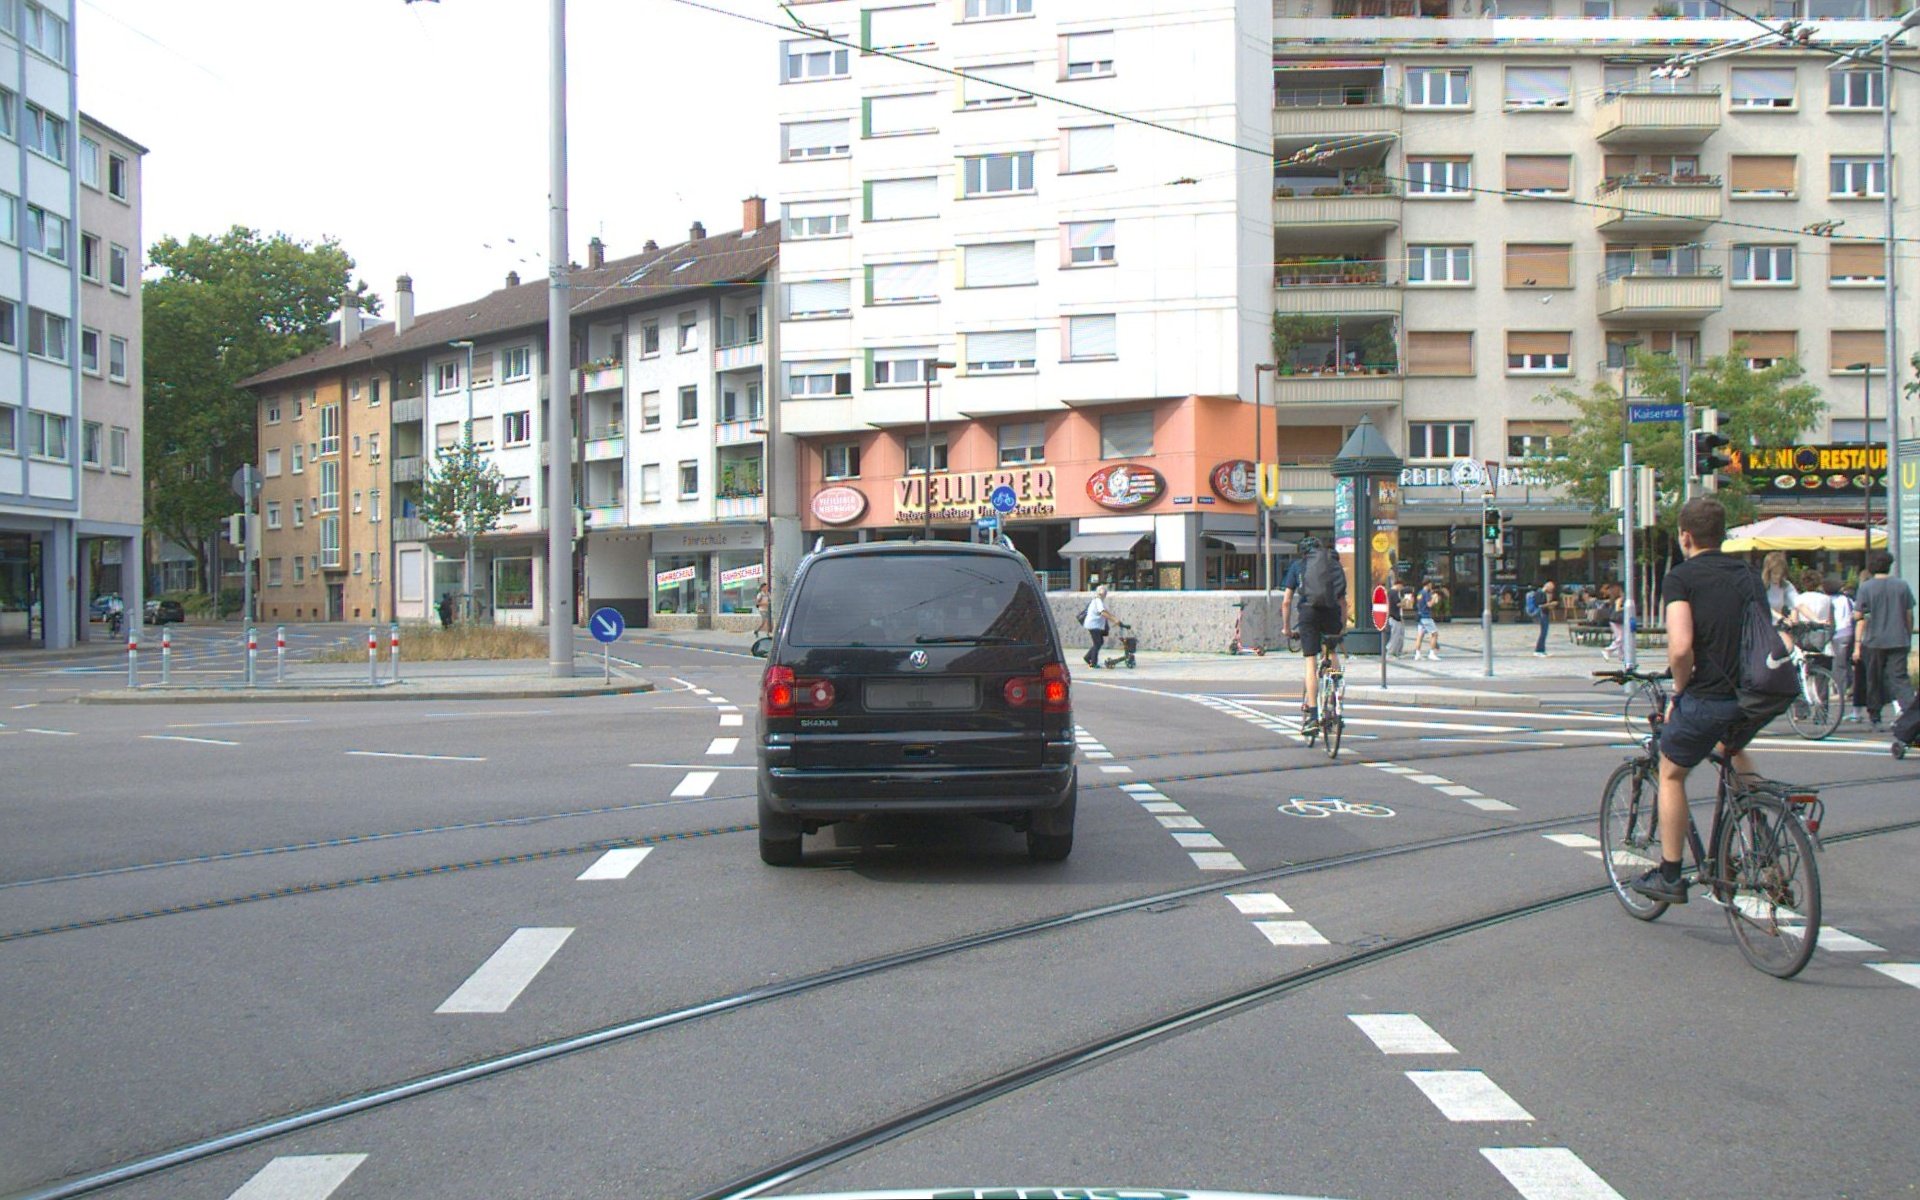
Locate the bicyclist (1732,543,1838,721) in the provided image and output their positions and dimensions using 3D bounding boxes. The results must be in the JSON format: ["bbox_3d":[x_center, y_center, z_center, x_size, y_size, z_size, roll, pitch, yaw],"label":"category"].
[{"bbox_3d":[8.288,0.313,16.644,0.627,1.739,0.862,0,0,-1],"label":"bicyclist"}]

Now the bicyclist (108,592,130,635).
[{"bbox_3d":[-33.473,0.523,65.835,0.603,1.675,1.023,-1,0,-37],"label":"bicyclist"}]

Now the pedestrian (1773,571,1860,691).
[{"bbox_3d":[11.189,0.404,21.630,0.542,1.527,0.843,0,-2,-17],"label":"pedestrian"}]

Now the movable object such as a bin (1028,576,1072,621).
[{"bbox_3d":[3.116,-0.048,56.995,1.147,1.542,0.999,0,0,43],"label":"movable object such as a bin"}]

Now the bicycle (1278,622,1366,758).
[{"bbox_3d":[3.334,0.792,15.348,0.382,1.141,1.920,0,0,0],"label":"bicycle"}]

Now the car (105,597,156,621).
[{"bbox_3d":[-51.903,0.547,103.468,3.879,1.447,1.652,1,1,44],"label":"car"}]

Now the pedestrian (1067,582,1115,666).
[{"bbox_3d":[2.846,0.513,35.834,0.915,1.770,0.686,-1,1,13],"label":"pedestrian"}]

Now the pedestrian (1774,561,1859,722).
[{"bbox_3d":[9.356,0.438,18.088,0.459,1.715,0.795,0,0,-6],"label":"pedestrian"}]

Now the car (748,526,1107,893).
[{"bbox_3d":[-0.322,0.506,10.036,1.777,1.797,3.734,0,1,-5],"label":"car"}]

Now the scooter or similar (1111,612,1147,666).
[{"bbox_3d":[3.649,0.839,35.677,0.685,1.129,0.609,-1,1,11],"label":"scooter or similar"}]

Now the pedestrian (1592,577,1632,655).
[{"bbox_3d":[14.067,0.346,35.689,0.662,1.670,0.439,0,0,-2],"label":"pedestrian"}]

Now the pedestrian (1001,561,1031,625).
[{"bbox_3d":[1.729,-0.217,50.929,0.580,1.936,0.670,0,3,45],"label":"pedestrian"}]

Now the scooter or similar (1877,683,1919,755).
[{"bbox_3d":[8.357,1.023,14.155,0.497,0.584,0.814,0,0,-10],"label":"scooter or similar"}]

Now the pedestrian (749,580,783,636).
[{"bbox_3d":[-6.688,0.288,57.015,0.653,1.884,0.956,-4,2,-42],"label":"pedestrian"}]

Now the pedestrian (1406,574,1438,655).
[{"bbox_3d":[10.047,0.312,35.965,0.581,1.767,0.414,0,0,-2],"label":"pedestrian"}]

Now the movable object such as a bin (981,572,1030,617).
[{"bbox_3d":[1.524,-0.176,55.183,1.202,1.486,1.142,0,0,43],"label":"movable object such as a bin"}]

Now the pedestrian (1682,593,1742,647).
[{"bbox_3d":[18.154,0.485,39.963,1.010,1.267,0.935,2,0,1],"label":"pedestrian"}]

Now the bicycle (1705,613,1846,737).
[{"bbox_3d":[8.209,0.725,16.744,0.382,1.141,2.076,0,0,0],"label":"bicycle"}]

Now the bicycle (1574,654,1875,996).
[{"bbox_3d":[3.148,0.850,7.010,0.397,1.141,2.018,0,1,2],"label":"bicycle"}]

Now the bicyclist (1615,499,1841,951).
[{"bbox_3d":[3.126,0.479,6.795,0.547,1.739,0.863,0,0,2],"label":"bicyclist"}]

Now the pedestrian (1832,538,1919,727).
[{"bbox_3d":[9.497,0.321,16.973,0.625,1.886,0.877,0,1,-1],"label":"pedestrian"}]

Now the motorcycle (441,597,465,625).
[{"bbox_3d":[-19.151,0.417,62.489,0.336,1.025,1.245,-1,1,-44],"label":"motorcycle"}]

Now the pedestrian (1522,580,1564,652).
[{"bbox_3d":[13.164,0.355,37.345,0.802,1.604,0.415,0,0,0],"label":"pedestrian"}]

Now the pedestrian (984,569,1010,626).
[{"bbox_3d":[1.136,-0.074,50.443,0.580,1.701,0.471,0,3,45],"label":"pedestrian"}]

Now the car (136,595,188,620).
[{"bbox_3d":[-48.183,0.455,99.872,3.800,1.447,1.652,1,1,44],"label":"car"}]

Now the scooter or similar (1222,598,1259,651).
[{"bbox_3d":[6.579,0.563,38.857,0.282,1.233,1.117,0,0,-24],"label":"scooter or similar"}]

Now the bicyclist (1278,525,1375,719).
[{"bbox_3d":[3.381,0.191,15.314,0.683,1.739,0.907,0,0,-1],"label":"bicyclist"}]

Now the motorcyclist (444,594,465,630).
[{"bbox_3d":[-19.076,0.441,62.442,0.521,1.335,0.666,-1,0,-44],"label":"motorcyclist"}]

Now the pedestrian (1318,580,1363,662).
[{"bbox_3d":[8.067,0.434,35.070,0.787,1.710,0.627,-1,0,0],"label":"pedestrian"}]

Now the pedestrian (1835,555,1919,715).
[{"bbox_3d":[10.095,0.370,18.143,0.620,1.724,0.706,0,1,-1],"label":"pedestrian"}]

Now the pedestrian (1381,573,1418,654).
[{"bbox_3d":[9.662,0.287,36.390,0.685,1.767,0.414,0,0,-2],"label":"pedestrian"}]

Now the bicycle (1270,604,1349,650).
[{"bbox_3d":[8.338,0.628,39.394,2.428,1.031,0.536,-1,0,-43],"label":"bicycle"}]

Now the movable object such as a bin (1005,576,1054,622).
[{"bbox_3d":[2.354,-0.042,56.119,1.176,1.542,1.190,0,0,43],"label":"movable object such as a bin"}]

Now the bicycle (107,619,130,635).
[{"bbox_3d":[-33.596,1.059,66.006,0.480,0.598,1.971,-1,0,-37],"label":"bicycle"}]
